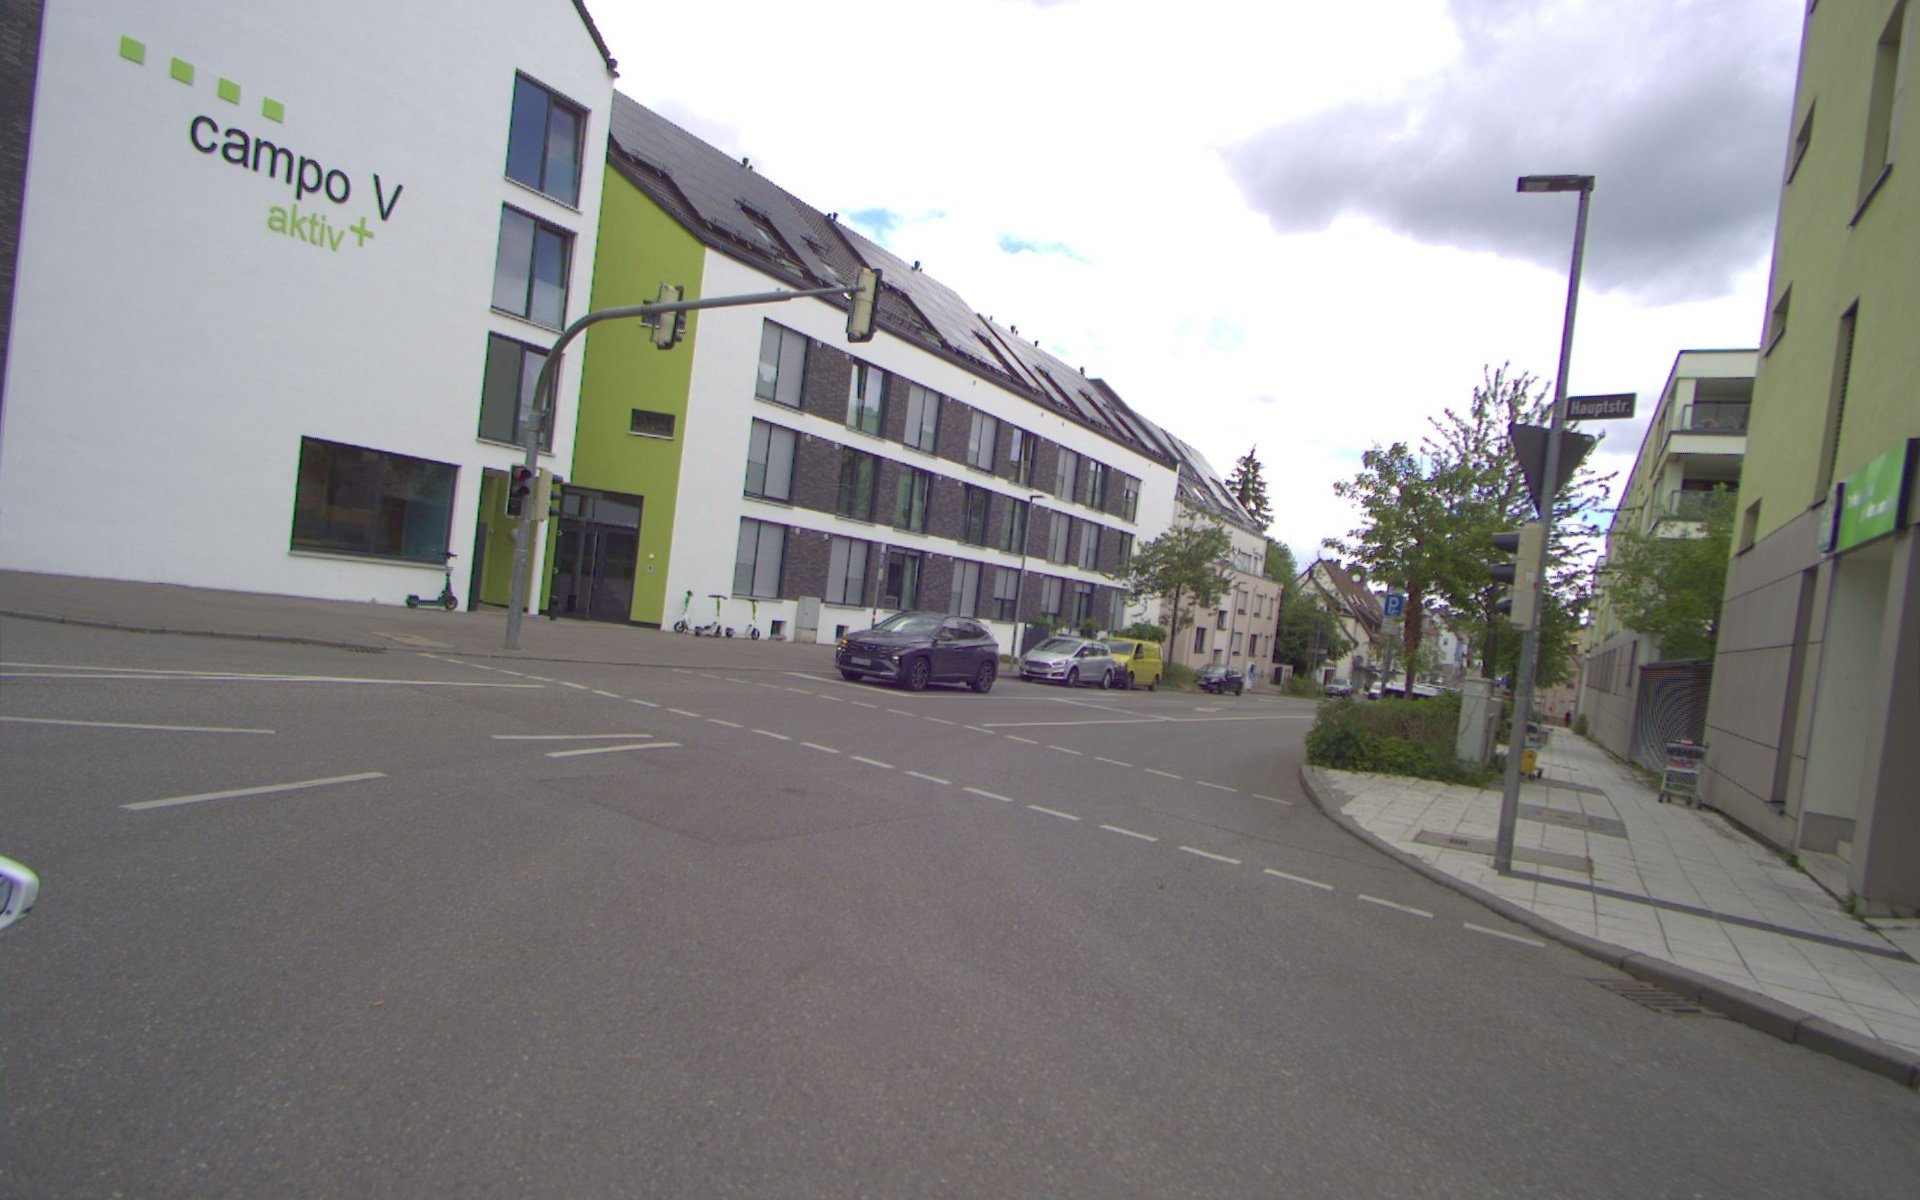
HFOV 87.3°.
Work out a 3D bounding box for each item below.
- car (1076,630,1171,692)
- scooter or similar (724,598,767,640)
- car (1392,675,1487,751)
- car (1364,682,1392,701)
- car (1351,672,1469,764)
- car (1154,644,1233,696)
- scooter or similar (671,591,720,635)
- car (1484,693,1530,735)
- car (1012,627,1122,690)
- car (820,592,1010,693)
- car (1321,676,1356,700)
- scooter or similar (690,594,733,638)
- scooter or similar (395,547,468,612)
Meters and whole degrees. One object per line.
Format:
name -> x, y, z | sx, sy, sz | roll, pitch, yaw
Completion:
car -> 6.389, 2.404, 38.908 | 1.778, 1.946, 4.626 | 8, -2, 32
scooter or similar -> -6.212, 0.558, 29.189 | 0.358, 1.092, 1.175 | 8, -1, 36
car -> 13.514, 3.142, 28.229 | 1.936, 1.680, 4.420 | 8, -2, 30
car -> 40.571, 8.884, 97.514 | 1.965, 1.557, 4.803 | 7, -1, 28
car -> 10.547, 2.704, 23.377 | 1.936, 1.634, 4.420 | 8, -2, 30
car -> 10.193, 3.064, 43.695 | 1.778, 1.815, 4.417 | 8, -2, 32
scooter or similar -> -7.360, 0.369, 27.985 | 0.358, 1.092, 1.228 | 8, -1, 39
car -> 31.126, 6.487, 57.177 | 1.937, 2.001, 4.418 | 8, -1, 31
car -> 3.688, 2.020, 34.034 | 1.778, 1.649, 4.417 | 8, -2, 32
car -> -0.858, 0.974, 21.672 | 1.920, 1.678, 4.095 | 8, -2, 32
car -> 29.533, 6.866, 78.396 | 1.965, 1.470, 3.997 | 7, -1, 28
scooter or similar -> -6.773, 0.441, 27.477 | 0.357, 1.092, 1.233 | 8, -1, 21
scooter or similar -> -11.466, -0.435, 21.843 | 0.400, 1.249, 1.232 | 8, -1, 33
